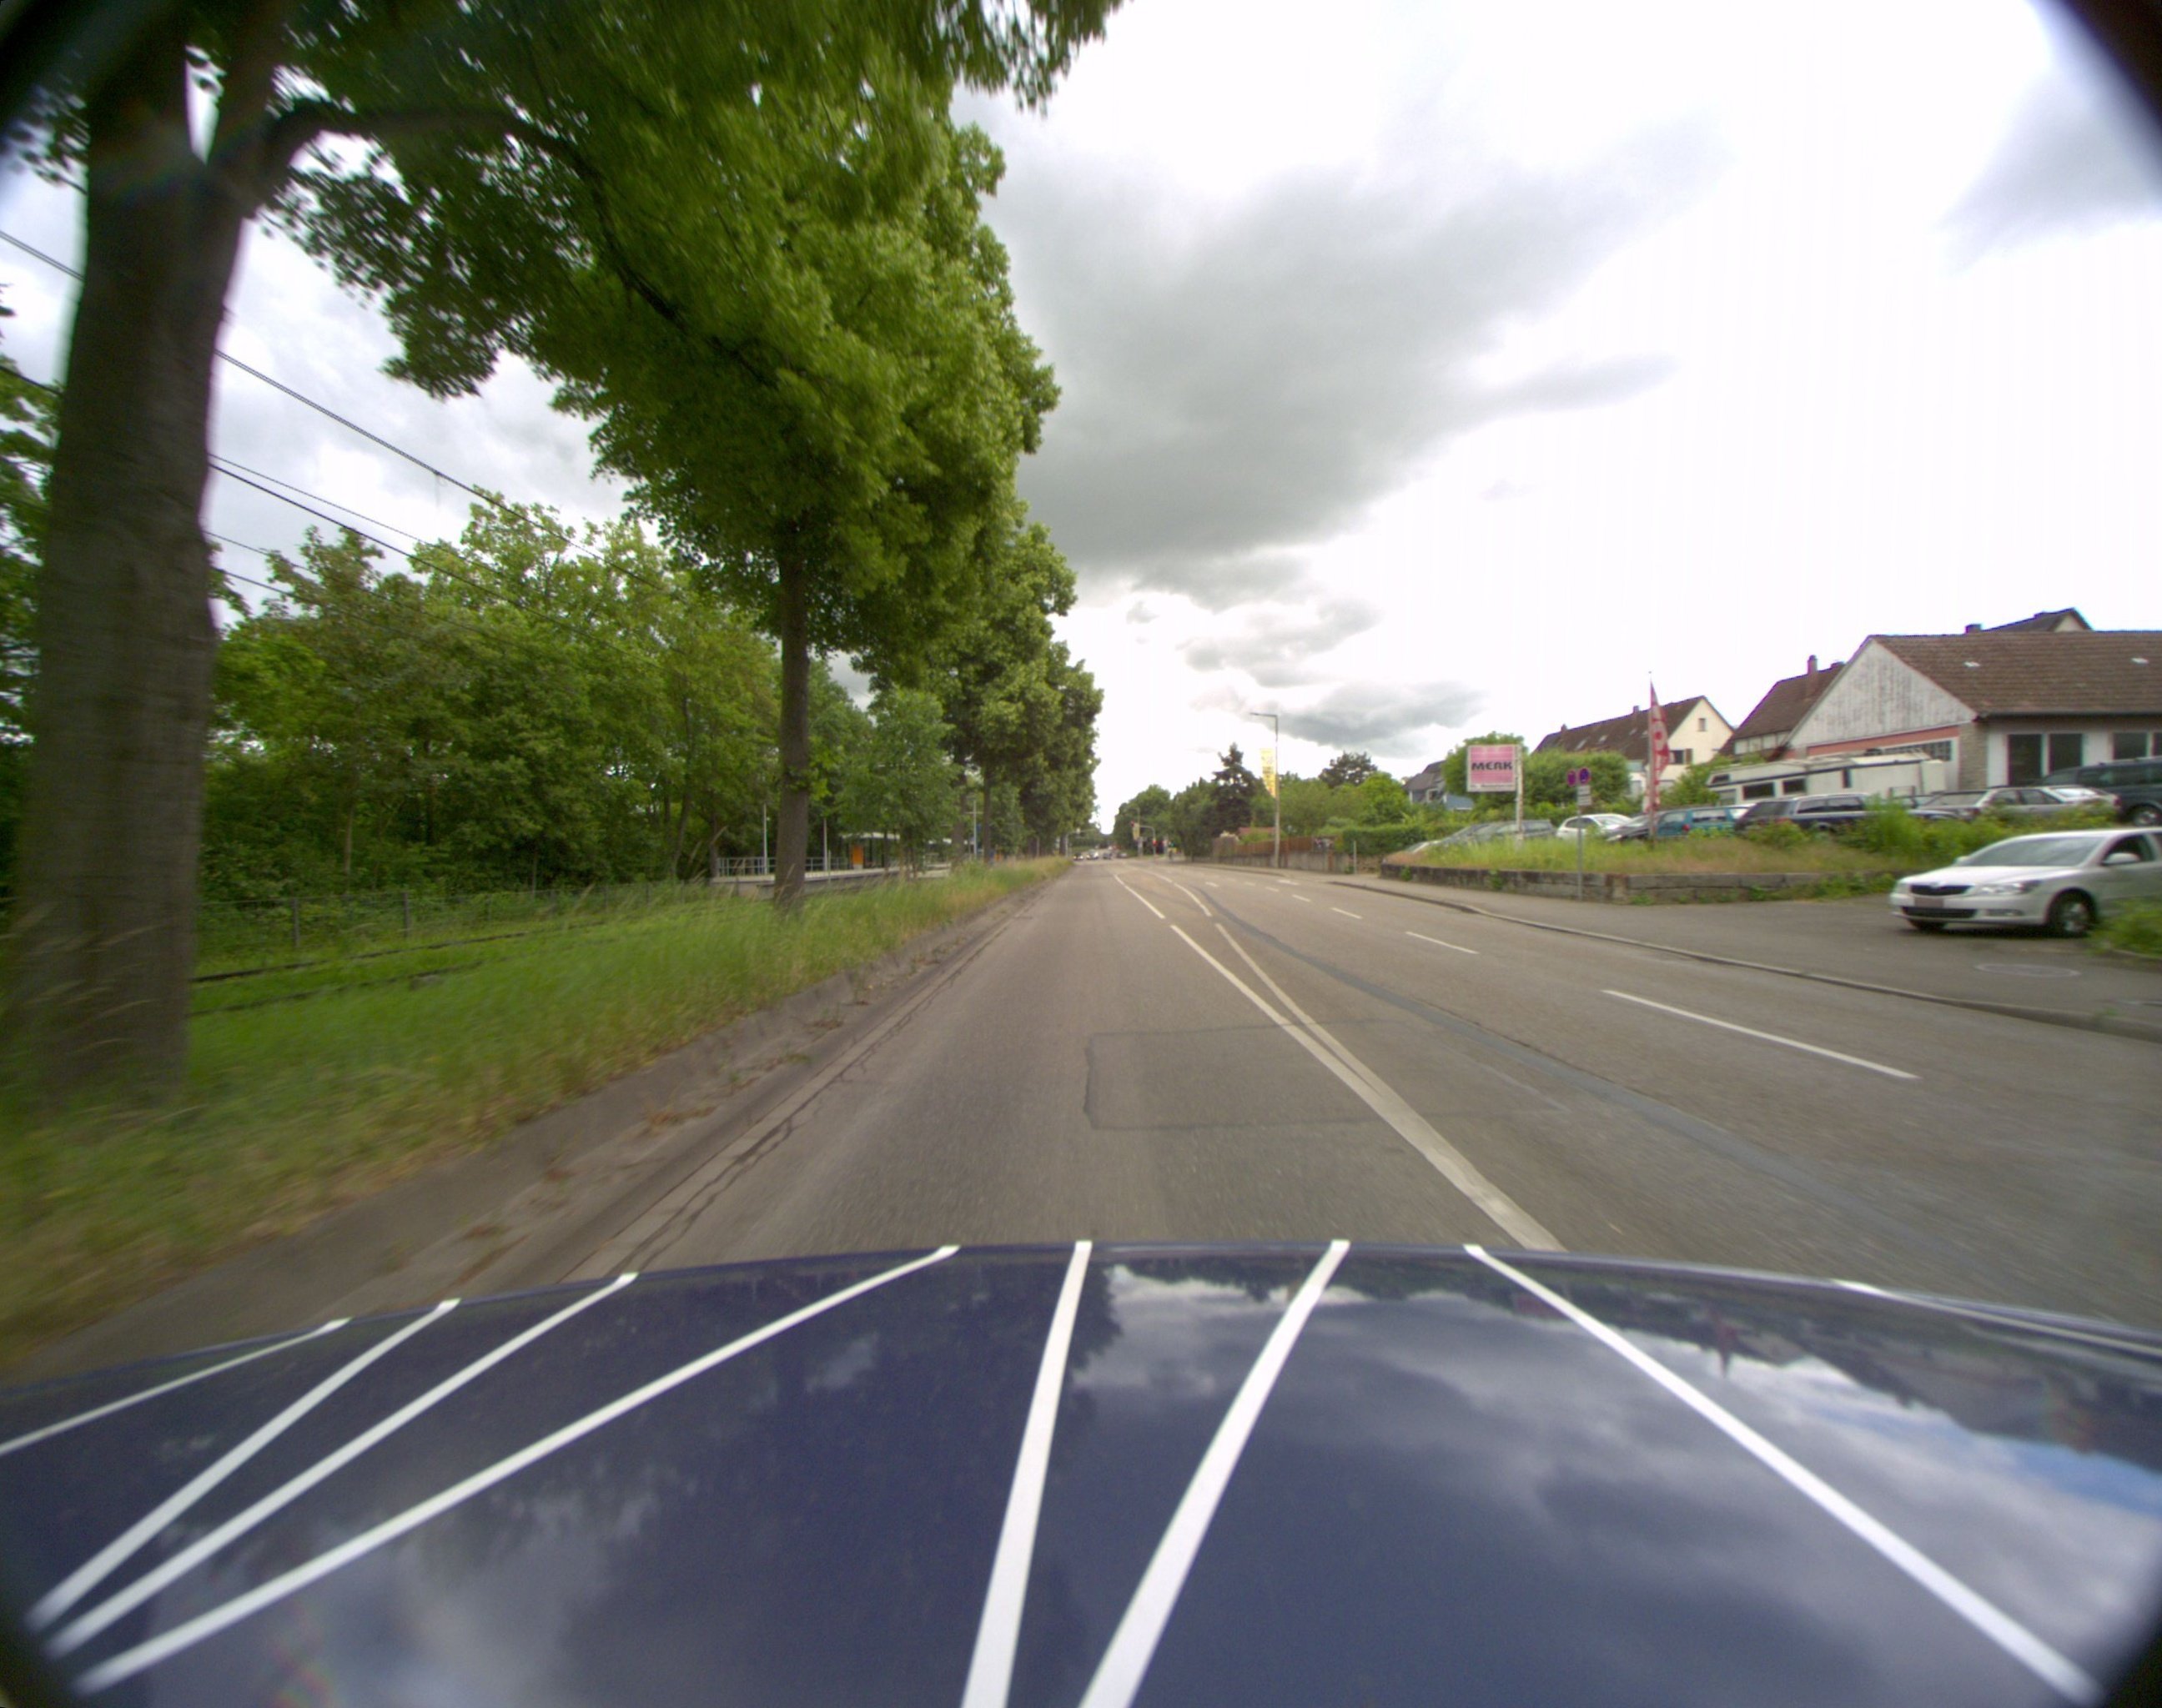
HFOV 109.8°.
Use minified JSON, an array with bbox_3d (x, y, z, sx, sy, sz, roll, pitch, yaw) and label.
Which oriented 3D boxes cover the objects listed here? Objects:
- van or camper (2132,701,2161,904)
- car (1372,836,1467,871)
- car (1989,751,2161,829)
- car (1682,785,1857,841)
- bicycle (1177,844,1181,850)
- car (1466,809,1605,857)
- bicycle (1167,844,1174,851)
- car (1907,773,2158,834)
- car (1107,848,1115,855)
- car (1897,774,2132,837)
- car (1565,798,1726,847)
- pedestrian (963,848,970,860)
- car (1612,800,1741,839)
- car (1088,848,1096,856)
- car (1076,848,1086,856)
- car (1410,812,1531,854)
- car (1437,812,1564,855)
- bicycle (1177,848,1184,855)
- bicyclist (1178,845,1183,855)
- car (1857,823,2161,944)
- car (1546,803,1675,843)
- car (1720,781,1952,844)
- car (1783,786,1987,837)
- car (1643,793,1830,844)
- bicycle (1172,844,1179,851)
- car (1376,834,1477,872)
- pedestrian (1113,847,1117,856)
[{"bbox_3d":[21.350,-1.224,11.331,7.159,3.351,2.796,-7,1,1],"label":"van or camper"},{"bbox_3d":[17.448,-0.052,39.274,3.996,1.595,2.000,-3,1,2],"label":"car"},{"bbox_3d":[30.028,-1.824,21.988,1.884,2.051,4.750,-3,1,1],"label":"car"},{"bbox_3d":[23.099,-1.353,25.628,3.995,1.619,1.934,-3,1,5],"label":"car"},{"bbox_3d":[20.263,-1.389,157.327,0.544,1.245,1.937,-2,2,18],"label":"bicycle"},{"bbox_3d":[16.395,-0.741,27.563,3.995,1.484,1.647,-3,2,5],"label":"car"},{"bbox_3d":[18.690,-1.330,158.687,0.544,1.245,1.939,-2,1,38],"label":"bicycle"},{"bbox_3d":[27.986,-1.407,22.633,1.998,1.520,4.400,-3,1,1],"label":"car"},{"bbox_3d":[6.122,-0.553,153.945,1.560,1.458,3.807,1,1,1],"label":"car"},{"bbox_3d":[24.670,-1.236,20.216,3.752,1.392,1.847,-3,1,5],"label":"car"},{"bbox_3d":[18.728,-1.043,25.367,3.847,1.370,1.918,-3,1,5],"label":"car"},{"bbox_3d":[-14.159,0.001,93.987,0.720,1.503,0.724,-3,2,3],"label":"pedestrian"},{"bbox_3d":[23.093,-1.300,29.678,1.673,1.311,4.286,-3,1,0],"label":"car"},{"bbox_3d":[2.209,-0.476,154.296,1.708,1.472,3.667,-2,1,1],"label":"car"},{"bbox_3d":[-0.021,-0.402,152.857,1.807,1.520,3.928,-2,1,2],"label":"car"},{"bbox_3d":[16.013,-0.861,31.394,3.995,1.488,1.859,-3,1,5],"label":"car"},{"bbox_3d":[16.222,-0.783,29.523,3.995,1.403,1.534,-3,2,5],"label":"car"},{"bbox_3d":[16.124,-0.372,122.670,0.644,1.138,2.147,-3,1,-4],"label":"bicycle"},{"bbox_3d":[16.096,-0.662,122.712,0.644,1.526,0.978,-3,1,-4],"label":"bicyclist"},{"bbox_3d":[14.487,0.357,11.085,4.386,1.433,1.961,-3,1,-2],"label":"car"},{"bbox_3d":[20.394,-1.141,29.518,1.852,1.334,4.400,-2,1,-2],"label":"car"},{"bbox_3d":[19.857,-1.069,20.167,3.995,1.362,2.000,-3,1,5],"label":"car"},{"bbox_3d":[23.934,-1.242,22.752,3.995,1.260,1.797,-3,1,5],"label":"car"},{"bbox_3d":[19.620,-1.034,22.878,3.940,1.261,1.886,-3,1,2],"label":"car"},{"bbox_3d":[19.668,-1.367,158.106,0.544,1.245,1.939,-2,2,38],"label":"bicycle"},{"bbox_3d":[16.785,-0.088,37.052,3.996,1.608,2.000,-3,1,2],"label":"car"},{"bbox_3d":[6.521,-0.501,145.660,0.753,1.727,0.840,1,2,5],"label":"pedestrian"}]
